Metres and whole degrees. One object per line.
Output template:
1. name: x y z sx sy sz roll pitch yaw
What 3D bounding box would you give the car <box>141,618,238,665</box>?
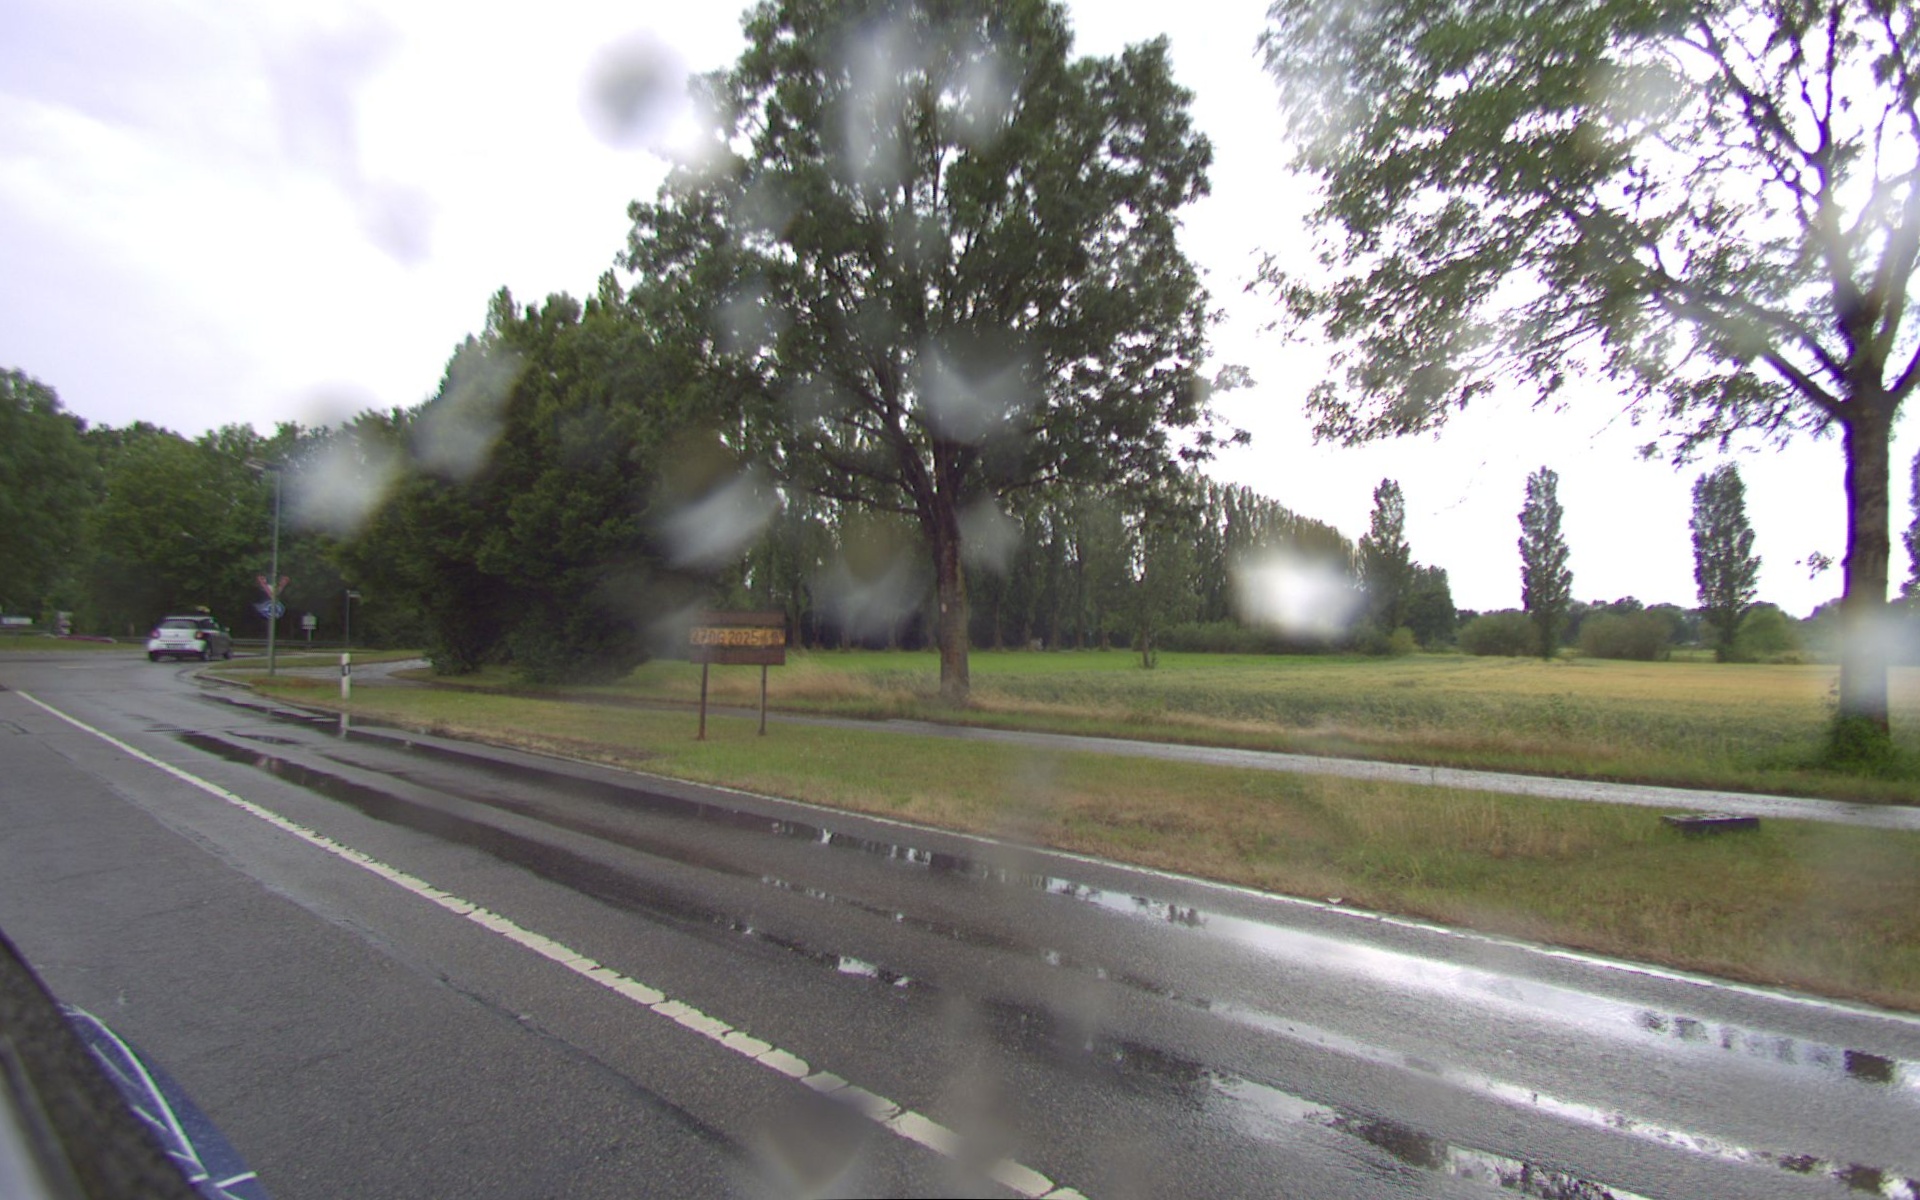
1. car: -26.748 1.474 35.267 1.652 1.510 3.746 3 -4 -22
